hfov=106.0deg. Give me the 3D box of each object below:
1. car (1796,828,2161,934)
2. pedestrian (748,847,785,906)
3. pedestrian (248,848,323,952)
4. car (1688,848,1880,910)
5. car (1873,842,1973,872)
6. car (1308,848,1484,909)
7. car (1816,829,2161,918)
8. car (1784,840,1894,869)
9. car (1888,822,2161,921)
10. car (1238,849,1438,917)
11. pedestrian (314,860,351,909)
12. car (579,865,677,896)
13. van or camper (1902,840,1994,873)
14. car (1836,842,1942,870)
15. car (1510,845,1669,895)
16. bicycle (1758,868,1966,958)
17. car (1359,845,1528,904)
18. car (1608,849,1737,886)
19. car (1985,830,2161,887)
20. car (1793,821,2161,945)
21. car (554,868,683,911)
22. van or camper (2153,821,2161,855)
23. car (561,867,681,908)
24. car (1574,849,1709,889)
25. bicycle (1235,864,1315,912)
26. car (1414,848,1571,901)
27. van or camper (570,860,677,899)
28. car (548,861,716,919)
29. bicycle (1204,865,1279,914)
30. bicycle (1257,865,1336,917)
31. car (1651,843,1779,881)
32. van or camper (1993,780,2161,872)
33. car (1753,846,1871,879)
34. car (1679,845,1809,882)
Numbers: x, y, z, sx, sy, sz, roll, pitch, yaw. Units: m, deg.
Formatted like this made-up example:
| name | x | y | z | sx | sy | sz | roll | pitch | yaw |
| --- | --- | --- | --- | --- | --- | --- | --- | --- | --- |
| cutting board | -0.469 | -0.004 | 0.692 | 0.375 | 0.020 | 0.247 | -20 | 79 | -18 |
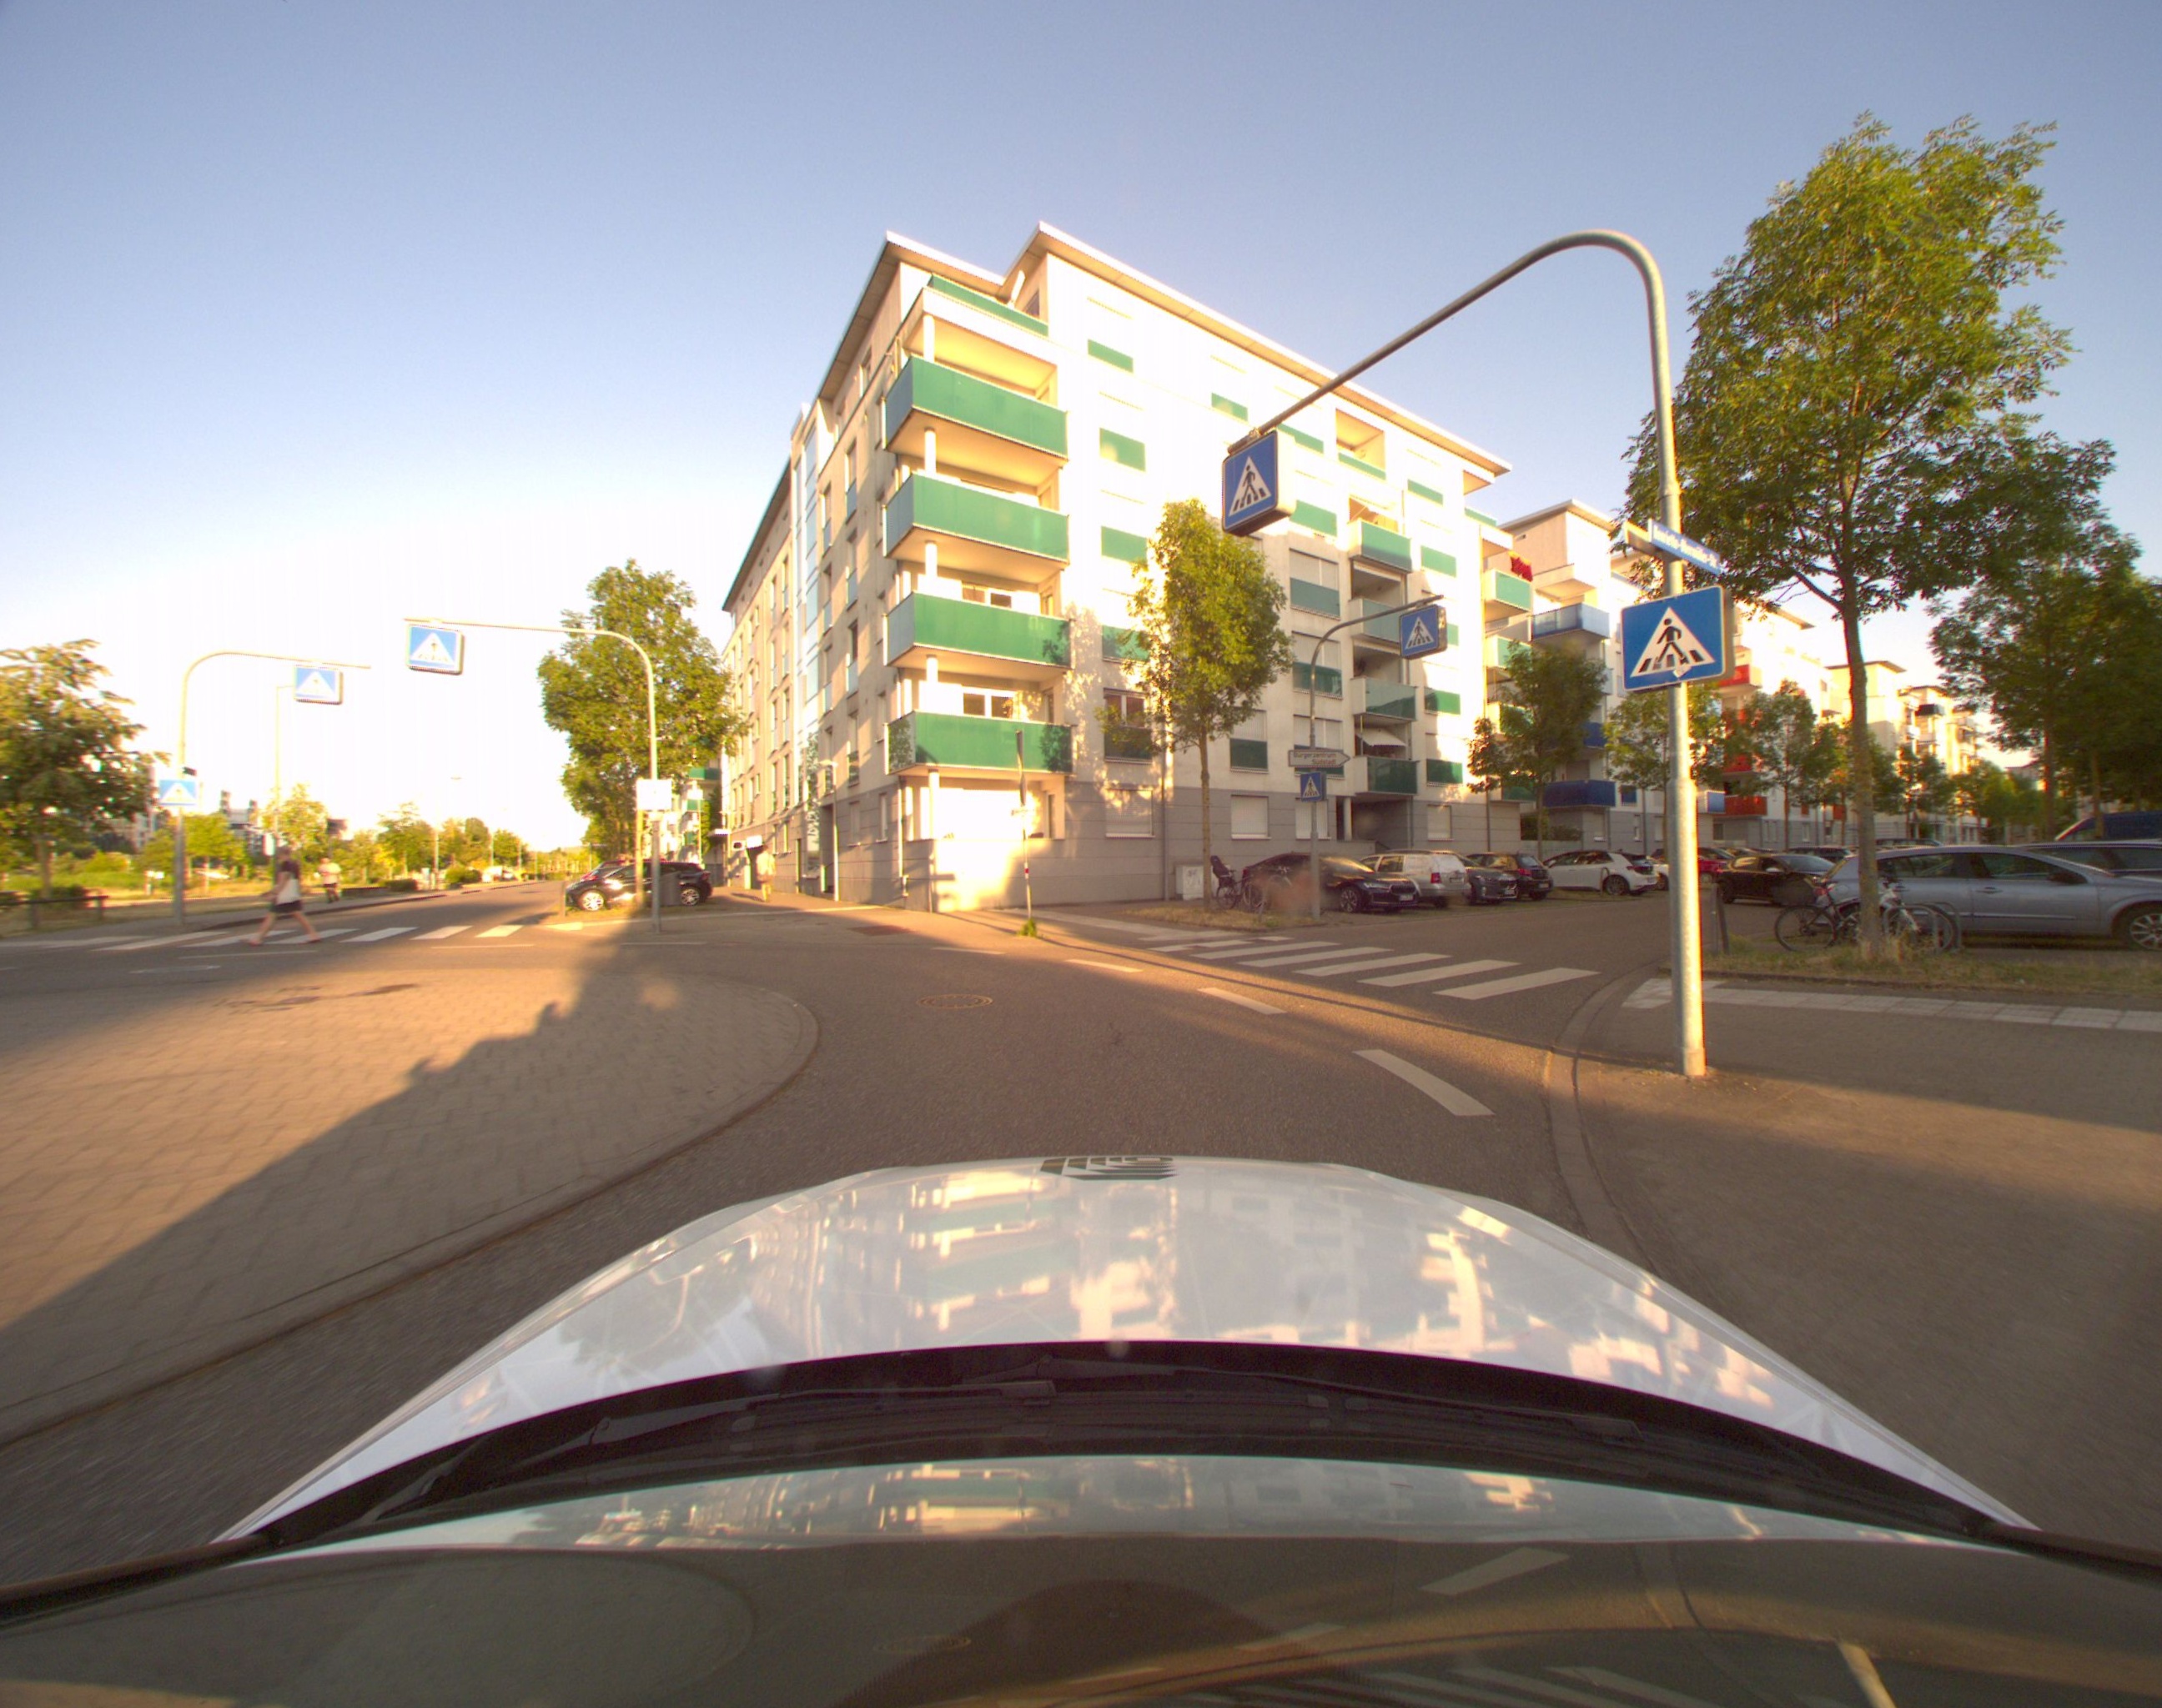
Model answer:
| name | x | y | z | sx | sy | sz | roll | pitch | yaw |
| --- | --- | --- | --- | --- | --- | --- | --- | --- | --- |
| car | 14.936 | 0.461 | 13.074 | 1.718 | 1.478 | 4.864 | 0 | -3 | -36 |
| pedestrian | -10.452 | 0.734 | 27.051 | 0.983 | 1.894 | 1.039 | 0 | -2 | -31 |
| pedestrian | -14.069 | 0.791 | 14.431 | 0.805 | 1.784 | 0.726 | 0 | -2 | -33 |
| car | 19.198 | 0.610 | 22.532 | 1.766 | 1.462 | 4.180 | 1 | 1 | 1 |
| car | 54.440 | 0.158 | 52.717 | 1.699 | 1.778 | 4.212 | 0 | 1 | -32 |
| car | 8.498 | 0.672 | 22.405 | 1.748 | 1.508 | 4.372 | 0 | -2 | -30 |
| car | 18.634 | 0.471 | 16.895 | 1.767 | 1.585 | 4.707 | 0 | -3 | -37 |
| car | 42.215 | -0.007 | 45.460 | 1.699 | 1.536 | 4.212 | 0 | 1 | -32 |
| car | 17.384 | 0.312 | 13.934 | 1.716 | 1.555 | 4.742 | 0 | -3 | -30 |
| car | 6.443 | 0.644 | 21.051 | 1.944 | 1.457 | 4.843 | 0 | 1 | -31 |
| pedestrian | -27.162 | 1.089 | 29.565 | 0.769 | 1.730 | 0.795 | 0 | -2 | -26 |
| car | -24.046 | 1.373 | 43.281 | 4.483 | 1.521 | 1.684 | 0 | -2 | -33 |
| van or camper | 61.210 | 0.145 | 57.551 | 1.699 | 2.210 | 4.210 | 0 | 1 | -34 |
| car | 47.915 | 0.102 | 48.380 | 1.699 | 1.536 | 4.212 | 0 | 1 | -32 |
| car | 17.212 | 0.490 | 27.745 | 1.693 | 1.507 | 4.249 | 0 | 1 | -37 |
| bicycle | 10.047 | 0.769 | 10.556 | 0.569 | 1.067 | 1.802 | 0 | -5 | -36 |
| car | 10.499 | 0.527 | 23.868 | 1.749 | 1.493 | 4.252 | 0 | 1 | -34 |
| car | 24.686 | 0.531 | 34.100 | 1.674 | 1.361 | 4.058 | 0 | 2 | -38 |
| car | 30.806 | 0.162 | 24.916 | 1.732 | 1.625 | 4.057 | 0 | -2 | -38 |
| car | 13.009 | 0.460 | 11.361 | 1.688 | 1.458 | 4.246 | 0 | -6 | -36 |
| car | -17.197 | 1.281 | 30.356 | 4.071 | 1.480 | 1.684 | 0 | -2 | -33 |
| van or camper | 81.159 | -1.134 | 58.890 | 1.767 | 2.534 | 4.211 | 0 | 1 | -33 |
| car | -18.318 | 1.302 | 32.490 | 4.071 | 1.480 | 1.684 | 0 | -2 | -33 |
| car | 21.218 | 0.530 | 30.964 | 1.732 | 1.344 | 3.877 | 0 | 2 | -38 |
| bicycle | 4.684 | 0.809 | 19.788 | 0.475 | 1.046 | 2.013 | 0 | 1 | -38 |
| car | 12.832 | 0.568 | 25.697 | 1.745 | 1.458 | 4.262 | 0 | 1 | -25 |
| van or camper | -25.651 | 1.404 | 45.770 | 5.151 | 2.060 | 1.858 | 0 | -2 | -33 |
| car | -14.211 | 1.090 | 25.997 | 4.495 | 1.487 | 1.816 | -3 | 0 | -30 |
| bicycle | 3.757 | 0.809 | 19.199 | 0.570 | 1.042 | 1.773 | 0 | 1 | -38 |
| bicycle | 4.916 | 0.822 | 18.646 | 0.475 | 1.072 | 1.820 | 0 | 1 | -38 |
| car | 27.339 | 0.300 | 35.239 | 1.674 | 1.508 | 4.058 | 0 | 1 | -38 |
| van or camper | 37.810 | -0.983 | 29.422 | 2.454 | 3.087 | 6.245 | 0 | -2 | -38 |
| car | 37.555 | 0.389 | 41.939 | 1.699 | 1.536 | 4.212 | 0 | 1 | -32 |
| car | 29.506 | 0.374 | 36.351 | 1.760 | 1.508 | 4.207 | 0 | 1 | -38 |
